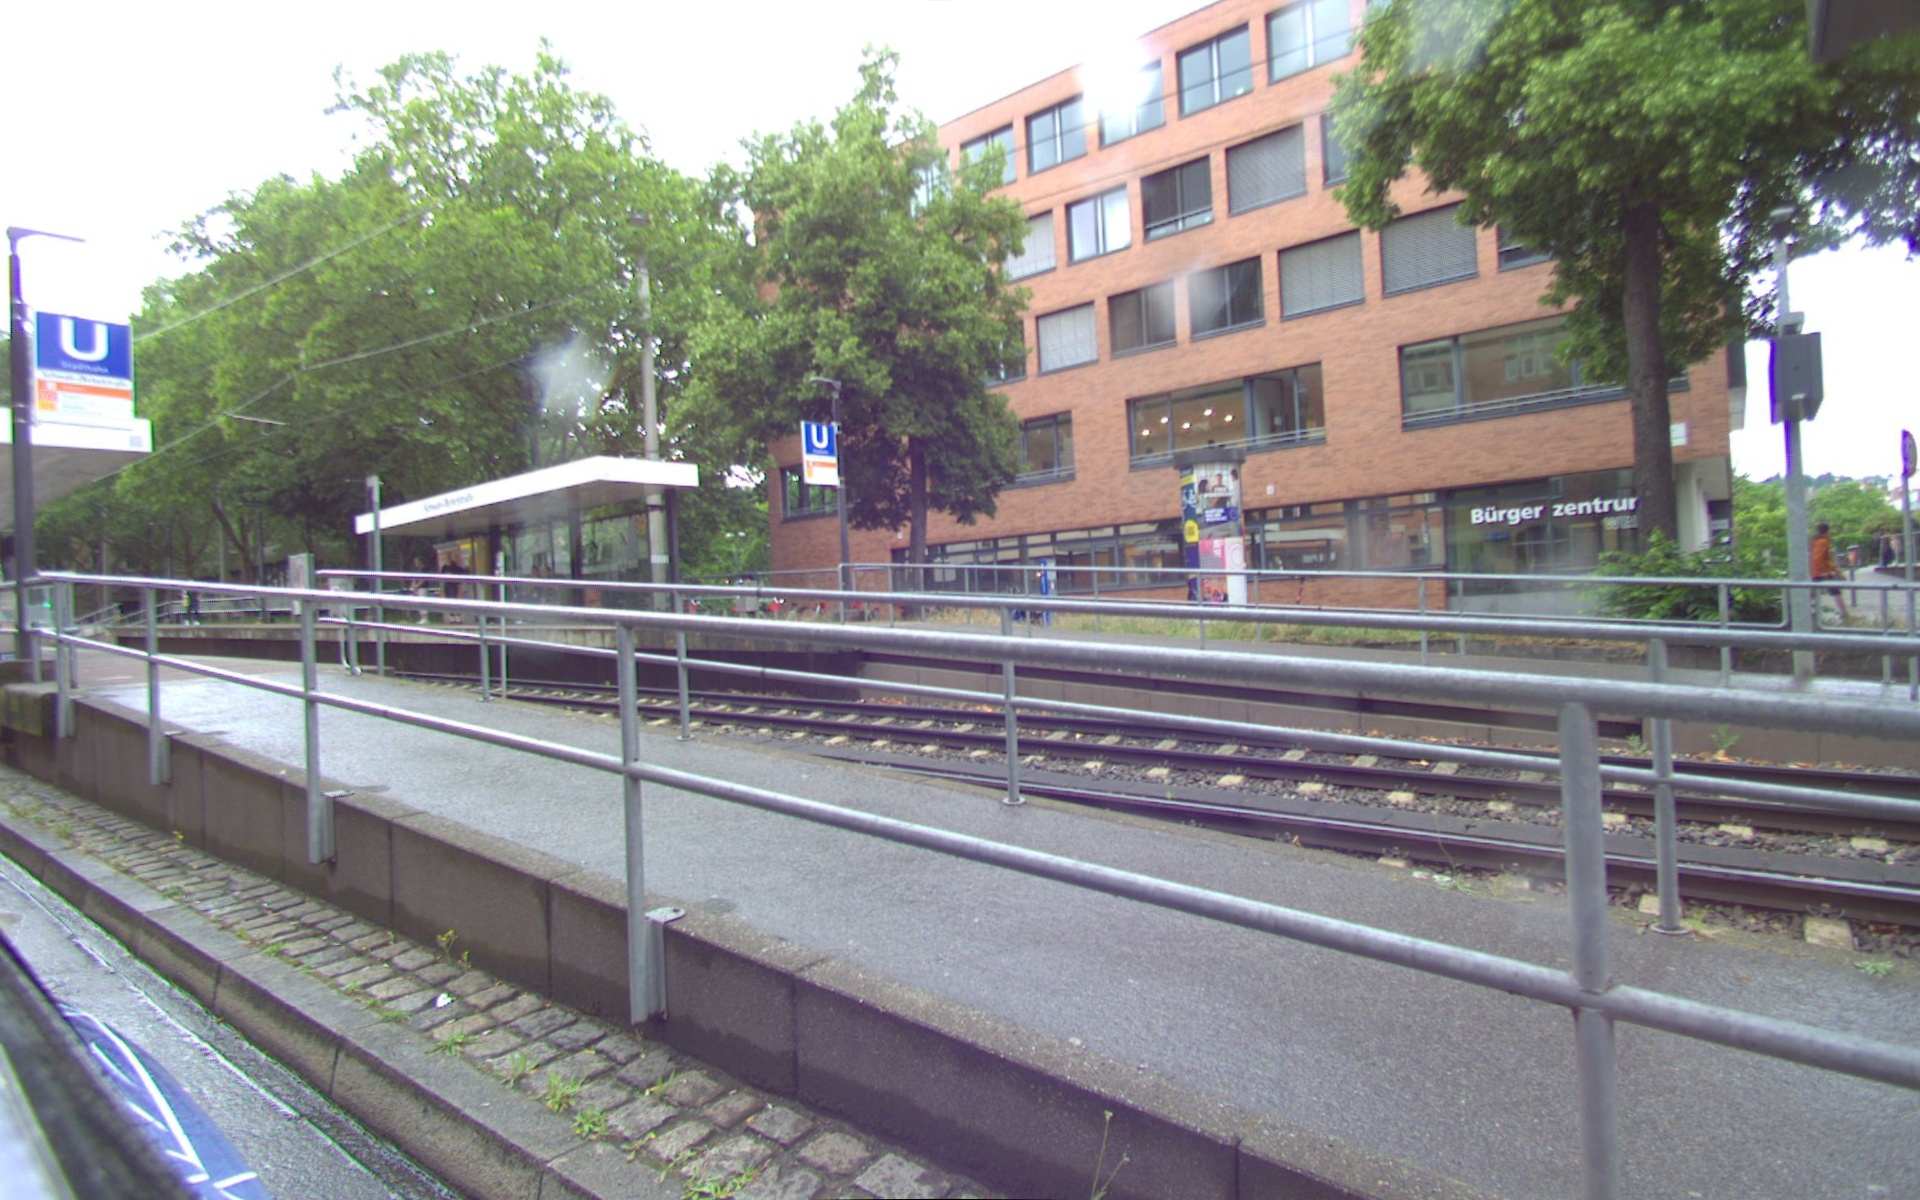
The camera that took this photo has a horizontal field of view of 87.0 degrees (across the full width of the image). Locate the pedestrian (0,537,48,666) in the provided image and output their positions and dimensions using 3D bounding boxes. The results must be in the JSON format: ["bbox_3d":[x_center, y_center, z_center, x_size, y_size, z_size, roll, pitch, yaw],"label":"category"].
[{"bbox_3d":[-11.942,0.019,12.740,0.507,1.593,0.607,-2,0,41],"label":"pedestrian"}]

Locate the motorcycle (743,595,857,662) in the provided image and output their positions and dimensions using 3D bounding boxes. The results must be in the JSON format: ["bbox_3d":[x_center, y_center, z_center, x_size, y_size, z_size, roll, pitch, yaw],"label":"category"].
[{"bbox_3d":[-4.815,0.821,30.925,1.004,1.829,3.829,-1,1,36],"label":"motorcycle"}]

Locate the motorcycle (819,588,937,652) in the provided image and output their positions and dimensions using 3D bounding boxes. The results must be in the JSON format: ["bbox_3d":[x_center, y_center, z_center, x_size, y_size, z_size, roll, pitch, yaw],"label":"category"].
[{"bbox_3d":[-2.228,0.507,28.443,1.004,1.617,3.829,-1,1,36],"label":"motorcycle"}]

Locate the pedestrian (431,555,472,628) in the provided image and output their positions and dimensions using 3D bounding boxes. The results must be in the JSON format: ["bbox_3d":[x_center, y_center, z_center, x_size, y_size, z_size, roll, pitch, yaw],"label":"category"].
[{"bbox_3d":[-12.328,-0.203,24.535,0.704,1.728,0.557,-2,0,36],"label":"pedestrian"}]

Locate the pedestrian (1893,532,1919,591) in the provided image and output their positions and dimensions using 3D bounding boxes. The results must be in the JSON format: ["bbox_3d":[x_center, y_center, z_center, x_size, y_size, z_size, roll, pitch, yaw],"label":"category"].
[{"bbox_3d":[33.261,-1.341,35.429,0.715,2.029,0.712,-2,-1,33],"label":"pedestrian"}]

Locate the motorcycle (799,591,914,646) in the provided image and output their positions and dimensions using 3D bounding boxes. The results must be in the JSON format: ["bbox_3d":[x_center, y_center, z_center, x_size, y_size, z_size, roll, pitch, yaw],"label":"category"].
[{"bbox_3d":[-2.946,0.509,29.472,1.004,1.417,3.829,-1,1,36],"label":"motorcycle"}]

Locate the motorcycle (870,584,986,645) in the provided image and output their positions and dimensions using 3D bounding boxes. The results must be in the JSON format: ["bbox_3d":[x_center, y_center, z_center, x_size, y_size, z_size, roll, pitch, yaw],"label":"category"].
[{"bbox_3d":[-0.806,0.359,27.792,1.004,1.499,3.829,-1,1,36],"label":"motorcycle"}]

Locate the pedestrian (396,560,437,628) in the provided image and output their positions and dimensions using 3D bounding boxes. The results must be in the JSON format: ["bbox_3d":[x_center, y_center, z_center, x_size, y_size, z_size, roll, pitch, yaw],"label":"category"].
[{"bbox_3d":[-13.634,-0.153,25.396,0.563,1.653,0.680,-2,0,36],"label":"pedestrian"}]

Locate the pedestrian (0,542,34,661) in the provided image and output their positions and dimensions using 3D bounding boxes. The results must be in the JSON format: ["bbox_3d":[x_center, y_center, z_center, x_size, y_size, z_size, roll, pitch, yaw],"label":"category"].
[{"bbox_3d":[-12.999,0.027,13.692,0.507,1.593,0.607,-2,0,41],"label":"pedestrian"}]

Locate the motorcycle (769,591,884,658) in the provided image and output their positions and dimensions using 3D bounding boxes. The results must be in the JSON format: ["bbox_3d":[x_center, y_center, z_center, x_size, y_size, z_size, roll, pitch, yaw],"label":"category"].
[{"bbox_3d":[-3.919,0.681,30.215,1.004,1.829,3.829,-1,1,36],"label":"motorcycle"}]

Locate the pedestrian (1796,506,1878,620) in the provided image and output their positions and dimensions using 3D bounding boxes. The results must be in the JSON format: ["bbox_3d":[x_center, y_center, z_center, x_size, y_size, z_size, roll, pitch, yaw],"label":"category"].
[{"bbox_3d":[16.224,-0.662,18.746,0.977,2.029,0.727,-2,0,30],"label":"pedestrian"}]

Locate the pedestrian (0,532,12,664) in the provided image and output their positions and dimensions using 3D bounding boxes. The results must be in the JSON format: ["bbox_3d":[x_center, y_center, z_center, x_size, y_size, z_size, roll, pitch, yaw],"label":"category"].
[{"bbox_3d":[-12.717,-0.018,13.073,0.587,1.701,0.607,-2,0,41],"label":"pedestrian"}]

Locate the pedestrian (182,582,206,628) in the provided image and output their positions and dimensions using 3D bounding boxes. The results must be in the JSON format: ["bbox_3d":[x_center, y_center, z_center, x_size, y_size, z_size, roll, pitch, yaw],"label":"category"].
[{"bbox_3d":[-28.148,0.197,37.196,0.689,1.653,0.556,-2,0,45],"label":"pedestrian"}]

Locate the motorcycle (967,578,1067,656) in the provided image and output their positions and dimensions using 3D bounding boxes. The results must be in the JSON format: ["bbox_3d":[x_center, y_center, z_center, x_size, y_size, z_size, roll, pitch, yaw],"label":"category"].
[{"bbox_3d":[1.482,0.399,25.579,0.991,1.829,3.009,-1,1,36],"label":"motorcycle"}]

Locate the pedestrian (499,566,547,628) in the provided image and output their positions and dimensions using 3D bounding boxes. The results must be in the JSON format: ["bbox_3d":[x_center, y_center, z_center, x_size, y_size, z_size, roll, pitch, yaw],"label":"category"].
[{"bbox_3d":[-9.884,-0.071,22.877,0.563,1.373,0.770,-2,0,36],"label":"pedestrian"}]

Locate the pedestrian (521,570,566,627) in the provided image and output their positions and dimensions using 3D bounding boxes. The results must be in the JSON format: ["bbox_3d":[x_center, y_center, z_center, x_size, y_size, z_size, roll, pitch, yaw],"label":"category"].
[{"bbox_3d":[-9.295,-0.038,22.589,0.563,1.249,0.697,-2,0,36],"label":"pedestrian"}]

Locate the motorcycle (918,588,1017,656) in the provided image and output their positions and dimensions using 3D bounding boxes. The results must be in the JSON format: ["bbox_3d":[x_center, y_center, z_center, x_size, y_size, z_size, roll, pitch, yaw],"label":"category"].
[{"bbox_3d":[0.233,0.551,26.844,1.004,1.640,3.031,-1,1,36],"label":"motorcycle"}]

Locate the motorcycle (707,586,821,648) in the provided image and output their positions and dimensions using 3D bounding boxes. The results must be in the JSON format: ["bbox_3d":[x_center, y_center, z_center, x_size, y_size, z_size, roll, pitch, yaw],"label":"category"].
[{"bbox_3d":[-6.082,0.486,31.783,1.004,1.787,3.829,-1,1,36],"label":"motorcycle"}]
